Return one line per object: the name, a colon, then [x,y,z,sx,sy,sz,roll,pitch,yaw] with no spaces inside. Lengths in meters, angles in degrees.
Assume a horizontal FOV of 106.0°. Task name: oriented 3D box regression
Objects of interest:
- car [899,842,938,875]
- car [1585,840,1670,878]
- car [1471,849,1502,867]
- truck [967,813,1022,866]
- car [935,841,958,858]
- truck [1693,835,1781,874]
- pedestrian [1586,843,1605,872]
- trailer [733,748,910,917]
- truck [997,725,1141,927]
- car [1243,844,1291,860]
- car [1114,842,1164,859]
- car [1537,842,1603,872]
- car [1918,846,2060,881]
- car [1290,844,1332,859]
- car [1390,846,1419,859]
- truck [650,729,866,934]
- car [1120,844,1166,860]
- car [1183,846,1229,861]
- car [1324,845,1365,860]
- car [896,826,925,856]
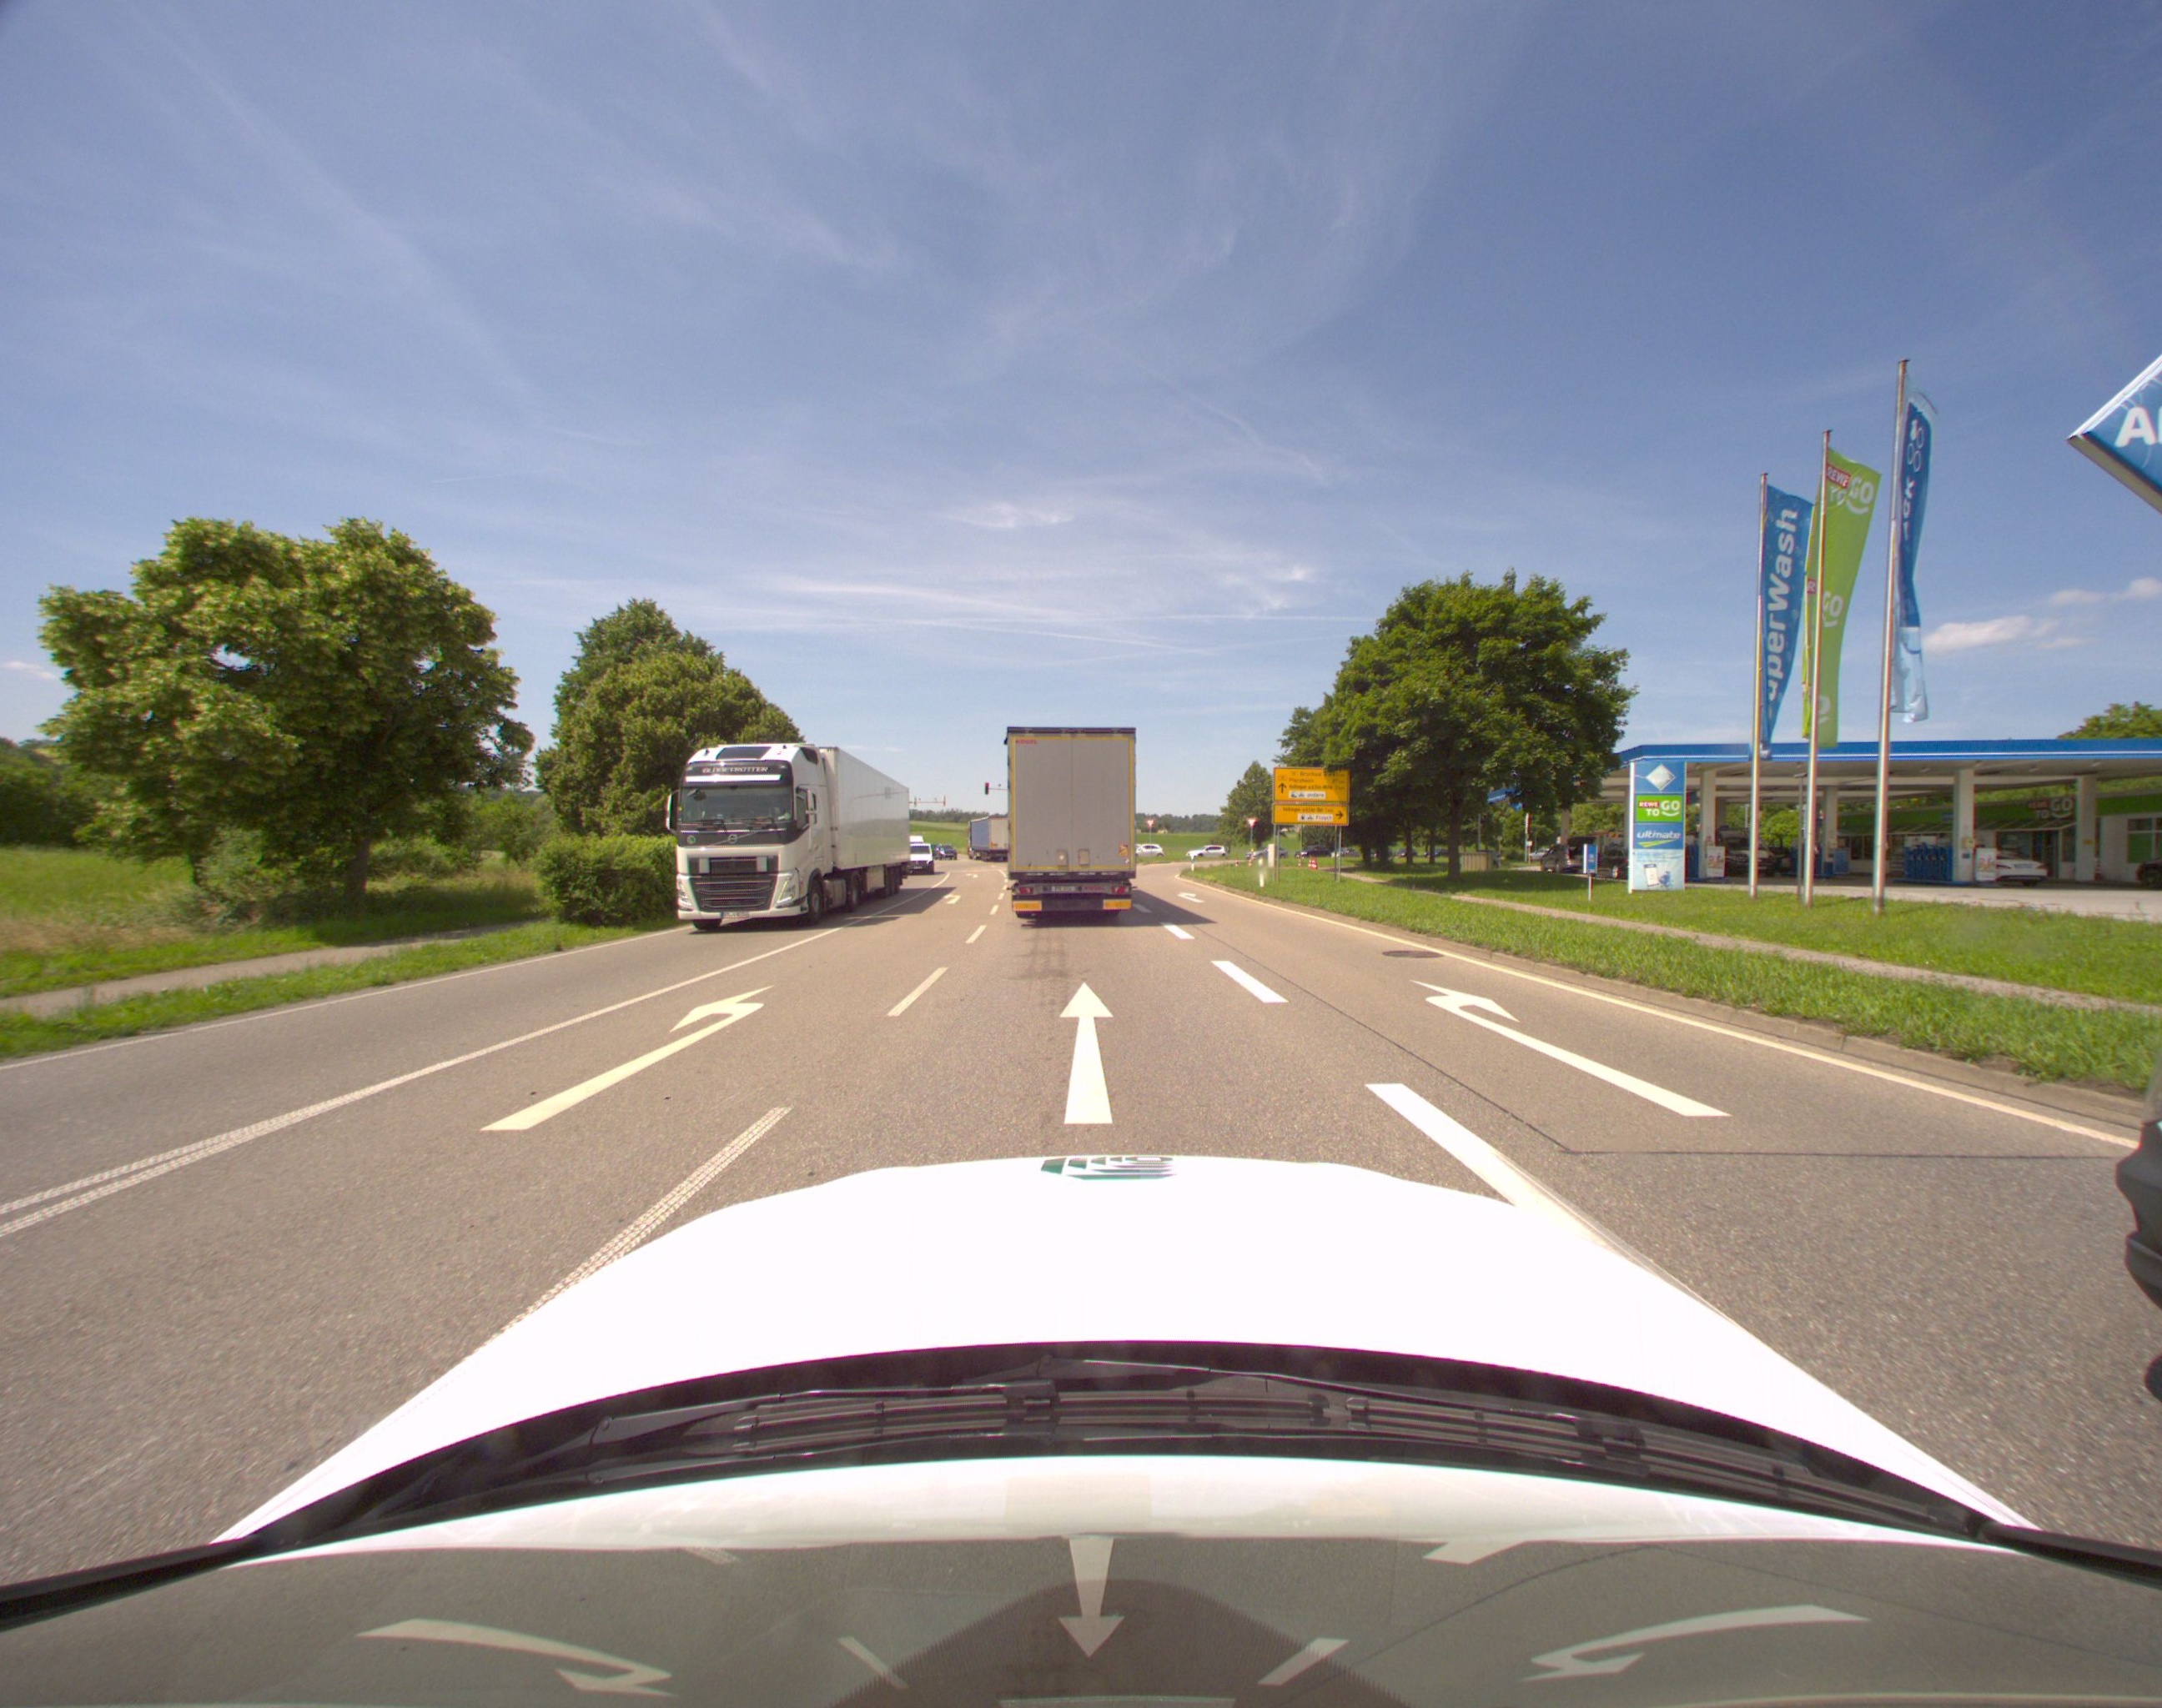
car: [-9.847,0.216,49.678,1.871,1.865,5.129,-1,1,-7]
car: [24.847,0.211,37.195,1.978,1.621,4.651,-1,0,18]
car: [30.687,0.300,61.571,1.737,1.363,4.348,-1,-1,31]
truck: [-8.667,-1.249,79.179,2.966,4.584,16.234,-1,0,-14]
car: [-13.975,-0.466,84.522,1.775,1.658,3.977,-1,1,-17]
truck: [35.412,0.052,44.126,1.978,2.014,4.833,-1,-1,16]
pedestrian: [26.839,0.207,42.483,0.660,1.497,0.724,-1,-1,17]
trailer: [-7.594,-0.600,25.844,2.774,4.101,11.639,-2,1,-5]
truck: [-0.455,-0.600,20.786,2.801,3.946,9.581,-1,0,-3]
car: [18.606,-0.186,81.573,4.568,1.510,1.786,1,-1,-24]
car: [5.768,-0.345,80.963,4.626,1.607,1.991,0,-1,-10]
car: [27.185,0.164,45.445,2.016,1.603,4.963,-1,0,18]
car: [37.435,0.388,33.748,1.887,1.363,4.012,-1,-1,11]
car: [23.835,-0.235,84.432,4.581,1.510,1.781,2,-2,-36]
car: [38.817,-0.168,97.631,1.778,1.510,4.258,-1,-1,42]
truck: [-7.050,-0.477,18.736,2.771,3.943,5.701,-1,1,-2]
car: [5.875,-0.225,76.853,3.965,1.419,1.820,-1,0,-14]
car: [12.214,-0.043,79.360,4.109,1.419,1.788,-1,0,-22]
car: [28.720,-0.146,88.616,4.579,1.510,1.782,0,-1,-33]
car: [-15.123,-1.156,71.991,2.055,2.451,5.240,-2,1,-16]
